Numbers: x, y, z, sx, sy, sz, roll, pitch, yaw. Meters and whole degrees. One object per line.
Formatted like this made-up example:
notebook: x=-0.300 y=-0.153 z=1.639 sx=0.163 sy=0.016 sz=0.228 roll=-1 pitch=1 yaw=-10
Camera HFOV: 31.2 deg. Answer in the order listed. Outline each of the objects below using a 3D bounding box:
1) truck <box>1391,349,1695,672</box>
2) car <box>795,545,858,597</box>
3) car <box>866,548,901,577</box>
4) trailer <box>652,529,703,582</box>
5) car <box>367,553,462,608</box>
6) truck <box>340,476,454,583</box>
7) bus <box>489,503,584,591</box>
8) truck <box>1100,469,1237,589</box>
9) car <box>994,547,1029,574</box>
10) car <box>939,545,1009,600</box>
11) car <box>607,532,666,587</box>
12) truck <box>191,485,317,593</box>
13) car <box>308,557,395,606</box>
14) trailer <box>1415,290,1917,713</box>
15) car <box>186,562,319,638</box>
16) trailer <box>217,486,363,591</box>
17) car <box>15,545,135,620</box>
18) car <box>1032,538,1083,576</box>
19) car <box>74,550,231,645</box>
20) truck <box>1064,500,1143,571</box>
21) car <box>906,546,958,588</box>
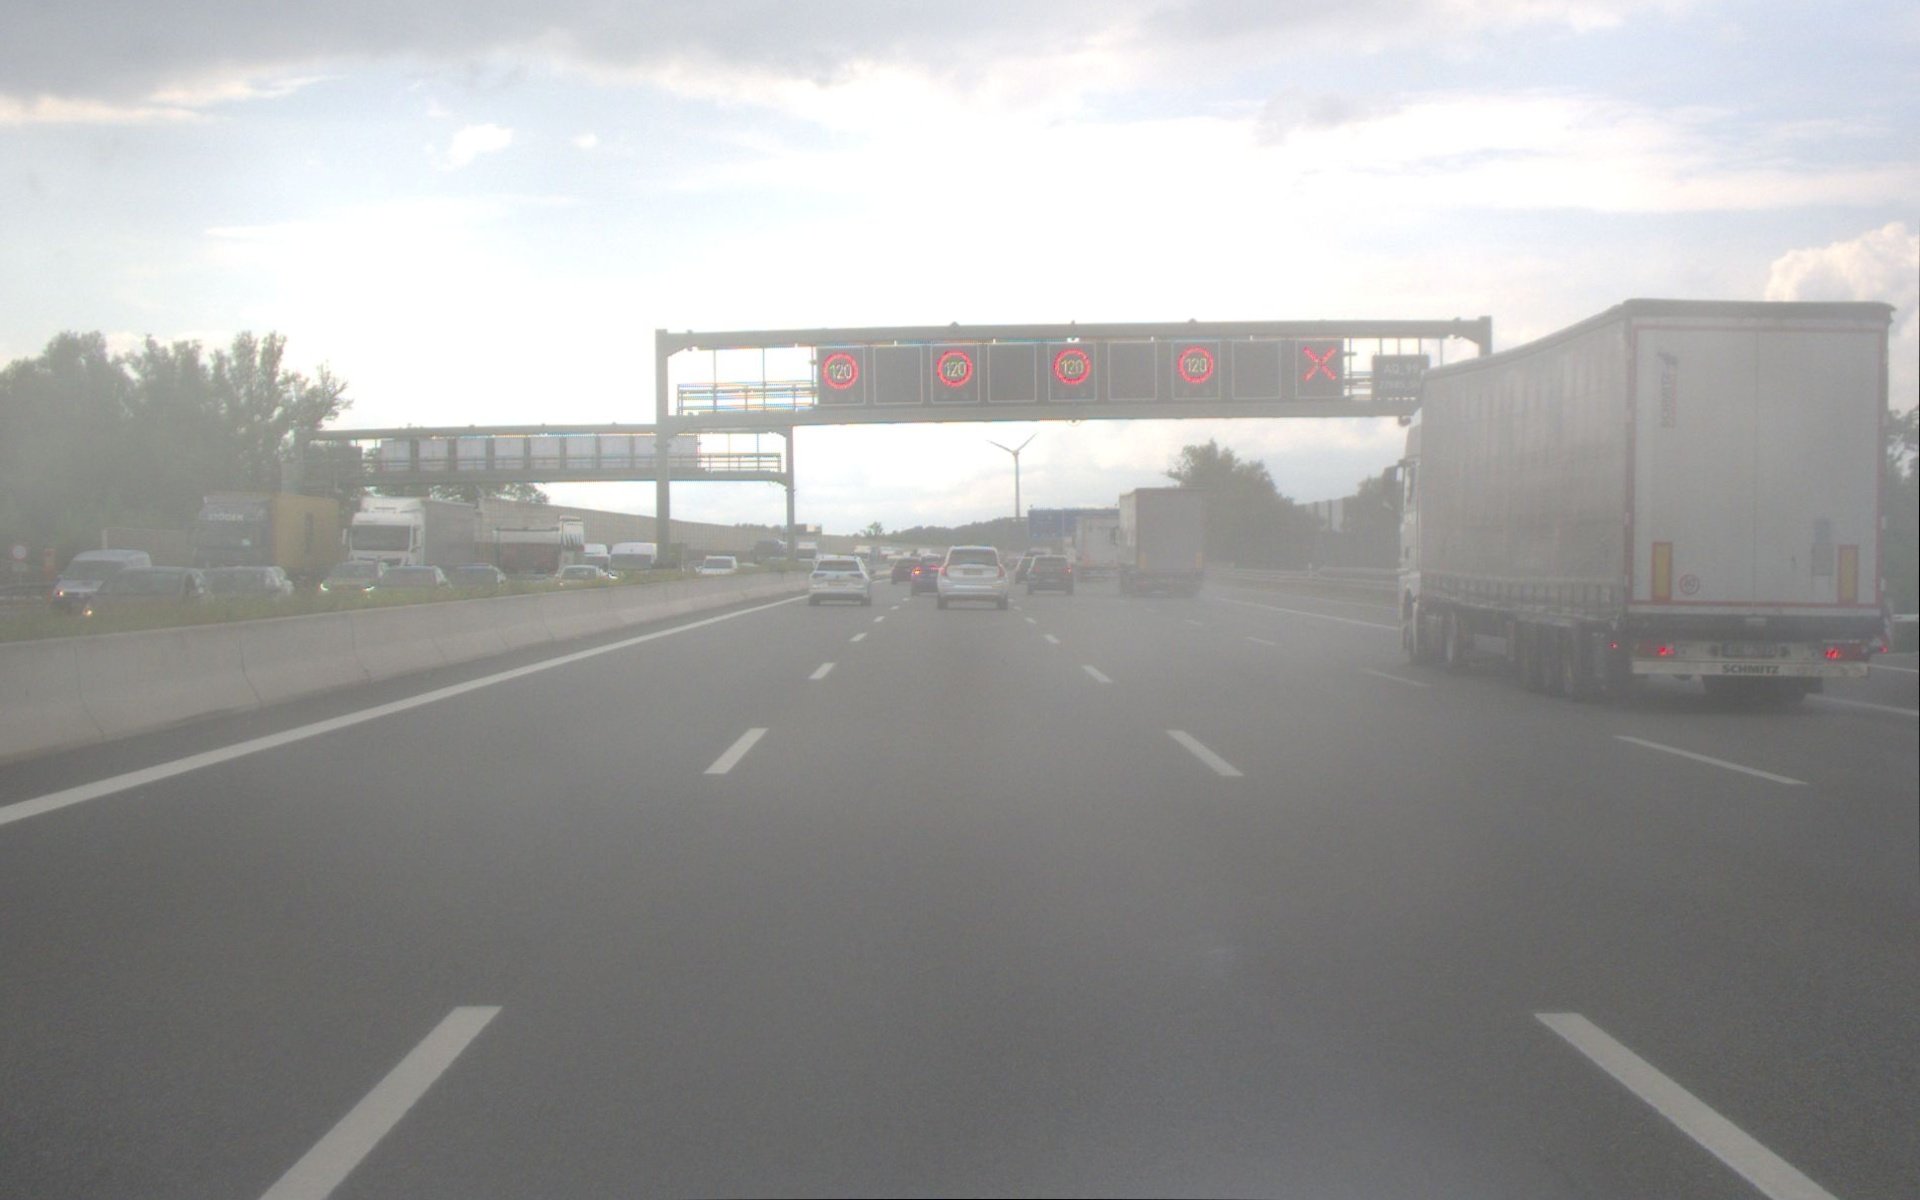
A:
truck: x=7.710 y=-1.183 z=46.329 sx=2.961 sy=4.006 sz=6.589 roll=1 pitch=1 yaw=0
car: x=-3.878 y=-0.854 z=100.117 sx=1.772 sy=1.436 sz=3.874 roll=1 pitch=1 yaw=-1
car: x=-4.023 y=-1.980 z=179.923 sx=1.772 sy=1.436 sz=4.056 roll=1 pitch=1 yaw=-2
trailer: x=-16.988 y=-2.679 z=207.007 sx=2.449 sy=3.128 sz=6.050 roll=0 pitch=1 yaw=1
car: x=-14.298 y=-0.535 z=90.332 sx=1.787 sy=1.377 sz=4.861 roll=1 pitch=1 yaw=-1
truck: x=-21.542 y=-2.689 z=131.984 sx=2.886 sy=3.948 sz=7.536 roll=1 pitch=1 yaw=2
bus: x=-18.233 y=-2.251 z=148.603 sx=2.654 sy=3.667 sz=10.634 roll=0 pitch=1 yaw=1
truck: x=7.849 y=-2.696 z=131.439 sx=4.180 sy=4.273 sz=12.613 roll=1 pitch=1 yaw=-1
car: x=2.846 y=-2.179 z=190.805 sx=1.836 sy=1.436 sz=4.055 roll=1 pitch=1 yaw=0
car: x=0.373 y=-0.783 z=95.418 sx=1.772 sy=1.436 sz=4.056 roll=1 pitch=1 yaw=-2
car: x=-14.177 y=-1.785 z=150.906 sx=2.136 sy=2.343 sz=5.711 roll=1 pitch=1 yaw=-1
truck: x=-26.386 y=-2.253 z=128.890 sx=3.029 sy=3.919 sz=7.710 roll=0 pitch=1 yaw=1
car: x=-18.201 y=-0.583 z=102.961 sx=1.787 sy=1.377 sz=4.861 roll=1 pitch=1 yaw=-1
trailer: x=7.676 y=-1.083 z=39.907 sx=2.961 sy=4.006 sz=14.119 roll=1 pitch=1 yaw=0
car: x=-14.137 y=-0.031 z=68.919 sx=1.716 sy=1.421 sz=4.861 roll=1 pitch=1 yaw=-1
trailer: x=-26.282 y=-2.365 z=135.586 sx=3.029 sy=3.919 sz=12.974 roll=0 pitch=1 yaw=1
car: x=-21.422 y=-0.455 z=83.363 sx=1.790 sy=1.733 sz=4.578 roll=1 pitch=1 yaw=-1
car: x=3.773 y=-1.682 z=133.673 sx=1.836 sy=1.436 sz=4.055 roll=1 pitch=1 yaw=0
car: x=-13.646 y=-0.075 z=58.302 sx=1.716 sy=1.518 sz=4.213 roll=1 pitch=1 yaw=-1
truck: x=8.748 y=-3.948 z=211.496 sx=4.244 sy=4.162 sz=11.990 roll=1 pitch=1 yaw=0
car: x=-1.029 y=-1.195 z=123.777 sx=1.772 sy=1.436 sz=4.056 roll=1 pitch=1 yaw=-2
